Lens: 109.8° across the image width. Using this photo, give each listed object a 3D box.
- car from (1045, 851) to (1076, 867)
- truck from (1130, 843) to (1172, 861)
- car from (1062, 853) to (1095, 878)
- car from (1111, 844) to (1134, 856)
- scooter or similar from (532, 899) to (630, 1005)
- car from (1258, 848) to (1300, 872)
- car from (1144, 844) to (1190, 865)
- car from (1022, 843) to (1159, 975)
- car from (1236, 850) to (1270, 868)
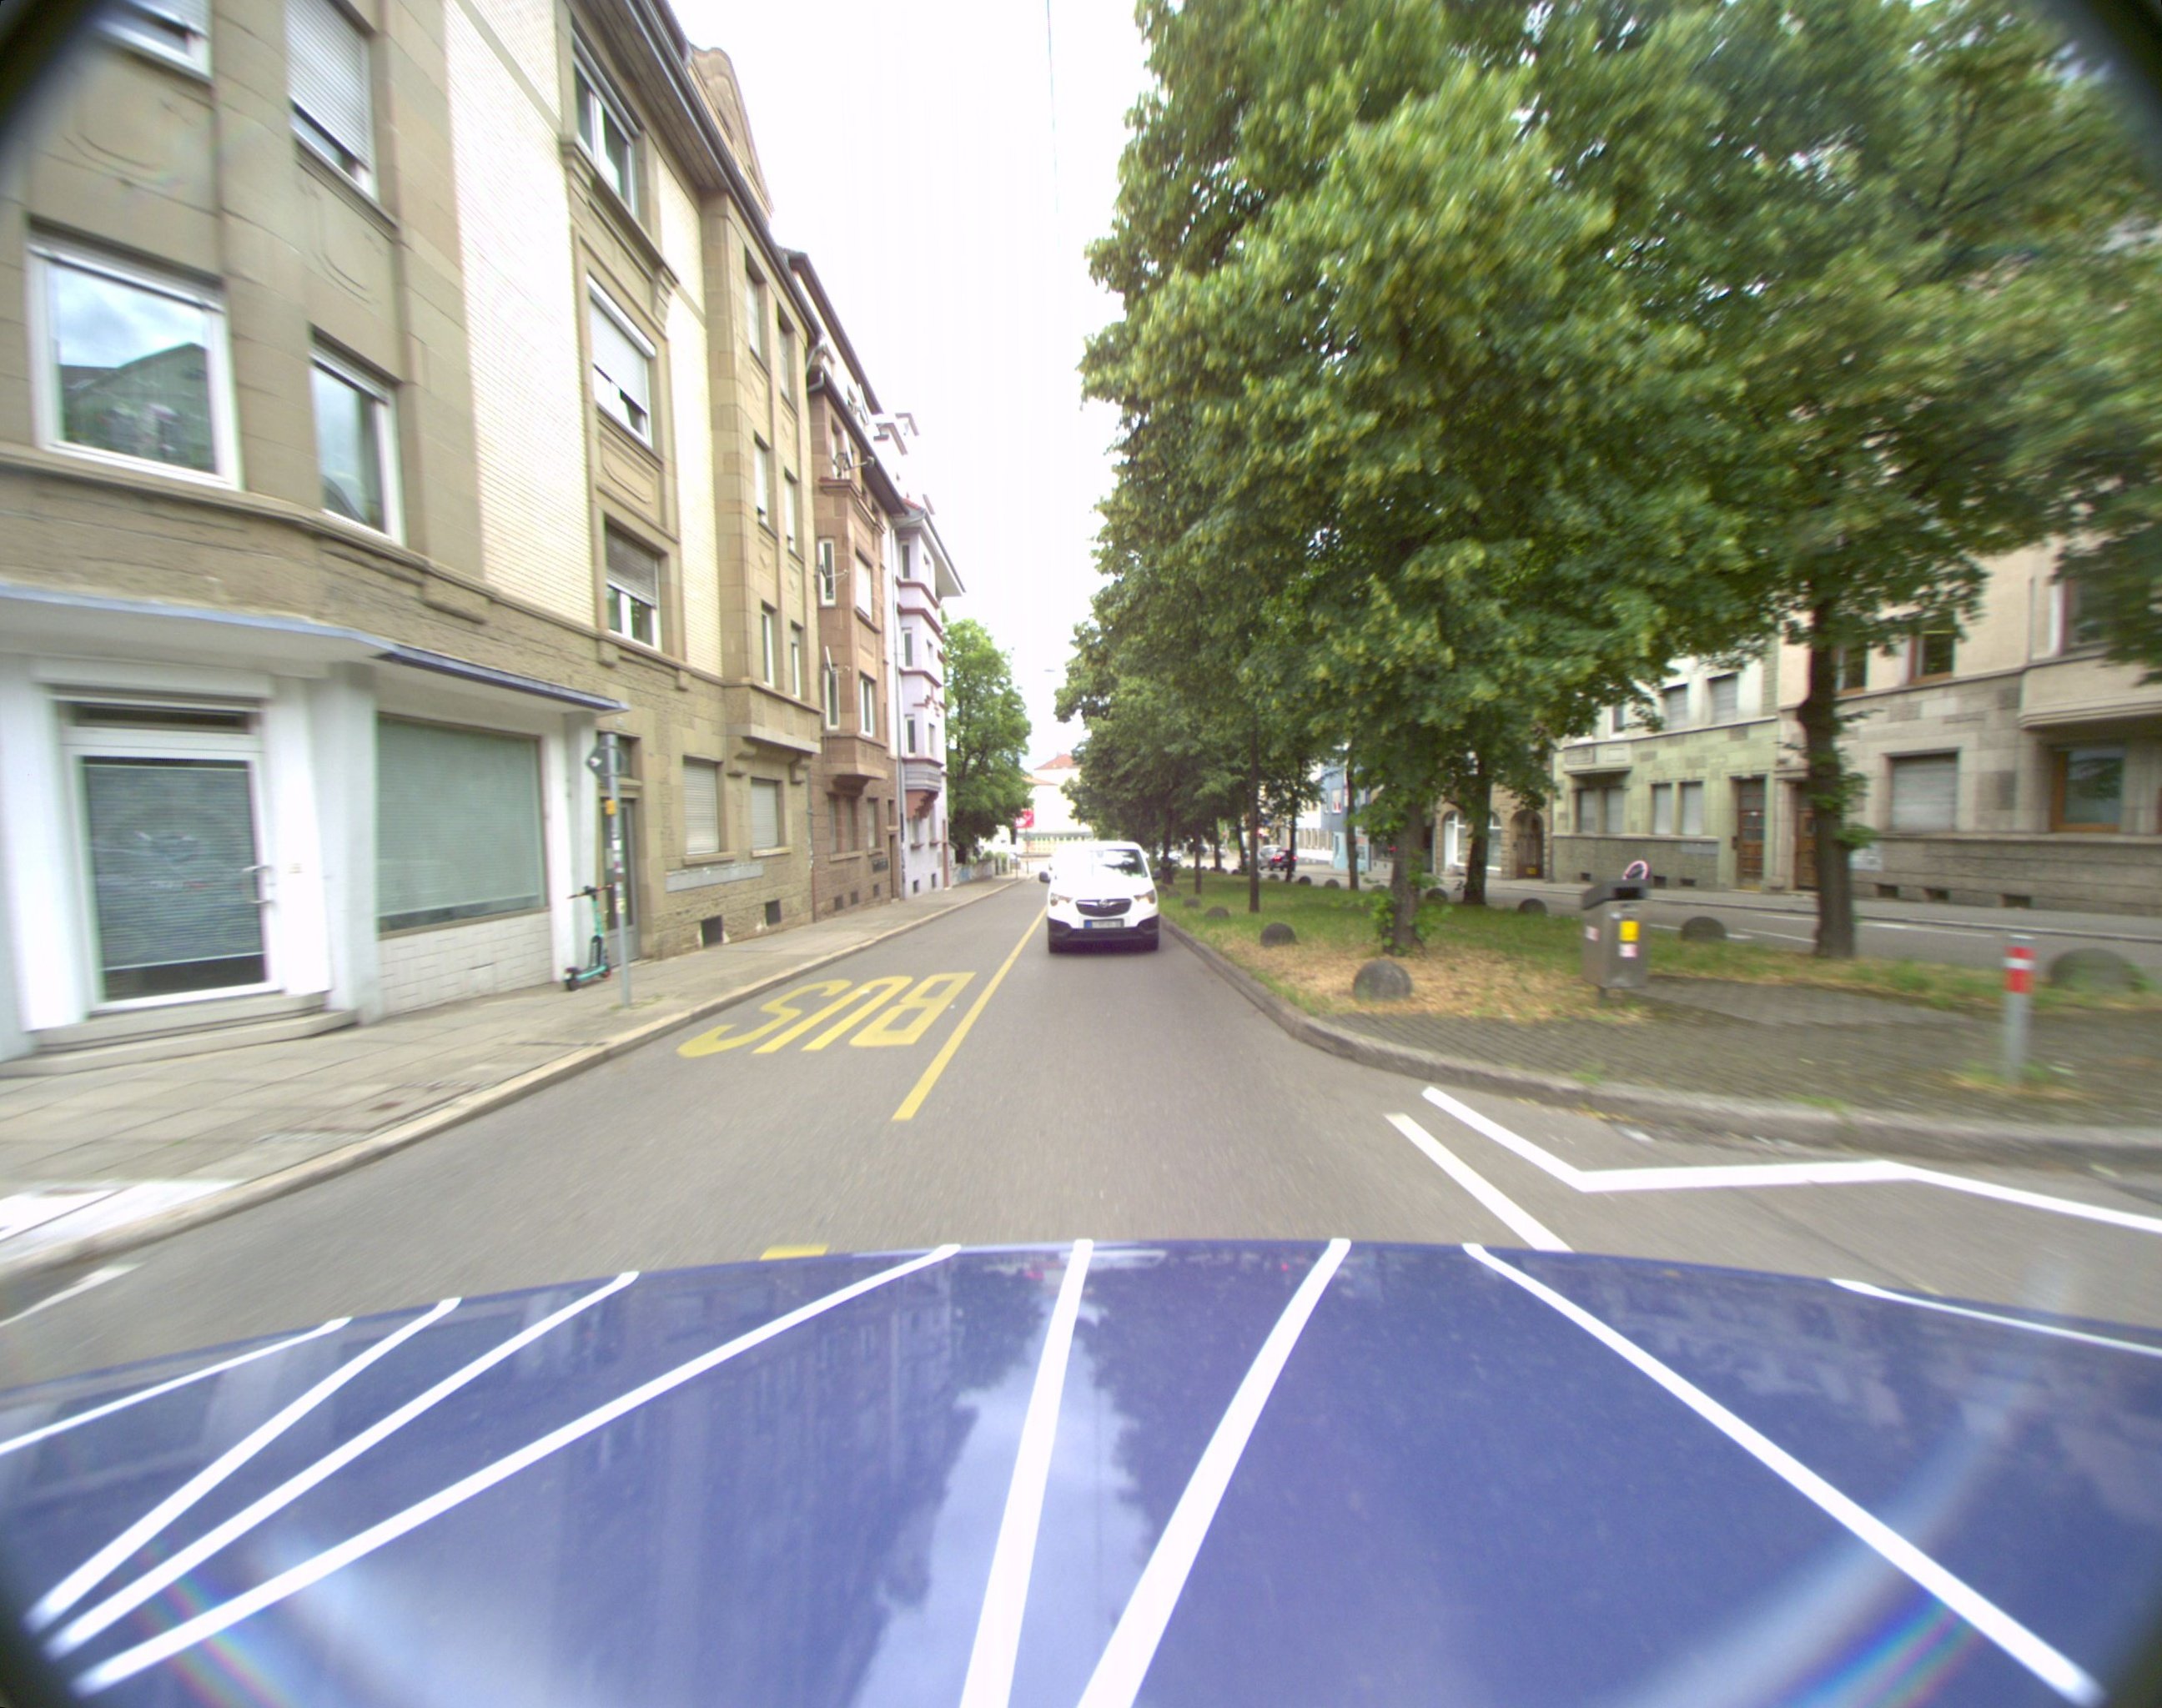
[{"bbox_3d":[-2.083,0.537,77.313,1.956,1.541,4.029,-3,0,-19],"label":"car"},{"bbox_3d":[11.295,-0.305,122.461,6.467,2.707,2.766,-1,0,-34],"label":"truck"},{"bbox_3d":[-0.215,0.741,50.402,2.038,1.541,4.035,-3,0,-2],"label":"car"},{"bbox_3d":[6.328,-0.604,115.637,2.207,1.563,4.482,-2,2,22],"label":"car"},{"bbox_3d":[-6.092,1.159,9.317,0.411,1.202,1.146,1,-3,0],"label":"scooter or similar"},{"bbox_3d":[14.577,0.405,56.193,1.820,1.627,4.678,0,1,-2],"label":"car"},{"bbox_3d":[9.097,0.070,80.303,4.258,2.003,2.003,-1,3,34],"label":"car"},{"bbox_3d":[0.208,0.789,12.719,1.857,1.798,4.730,0,-1,2],"label":"car"},{"bbox_3d":[14.390,0.440,63.802,1.673,1.398,4.293,-1,0,-3],"label":"car"}]
